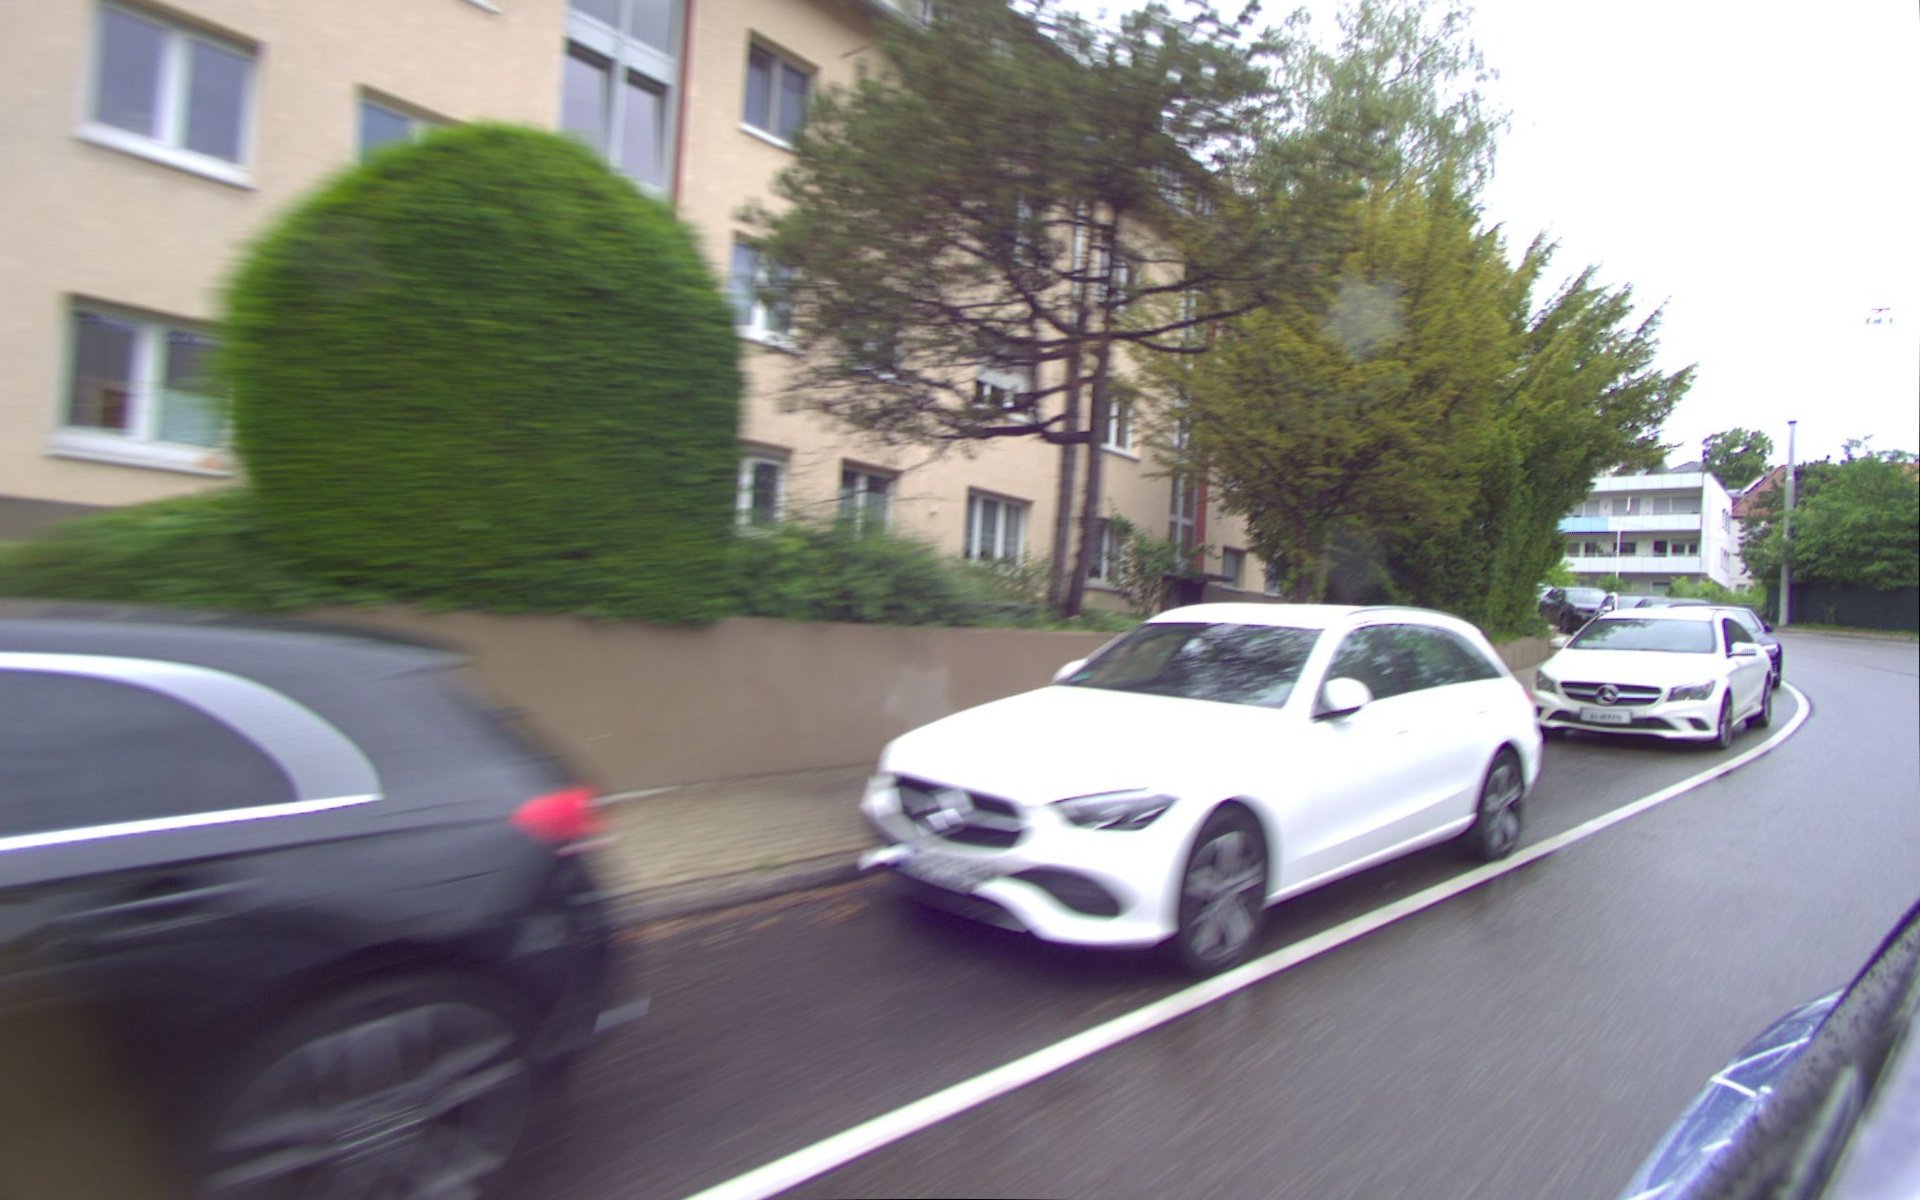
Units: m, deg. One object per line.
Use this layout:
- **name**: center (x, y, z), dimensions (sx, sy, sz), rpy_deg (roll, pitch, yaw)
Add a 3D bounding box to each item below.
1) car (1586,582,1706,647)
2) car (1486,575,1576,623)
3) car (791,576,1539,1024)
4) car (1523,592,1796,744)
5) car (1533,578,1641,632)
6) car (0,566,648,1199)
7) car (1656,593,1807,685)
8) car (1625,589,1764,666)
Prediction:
- **car**: center (18.450, 0.340, 27.391), dimensions (1.667, 1.489, 3.715), rpy_deg (6, 2, 20)
- **car**: center (20.943, -0.076, 37.277), dimensions (1.599, 1.523, 3.596), rpy_deg (5, 2, 9)
- **car**: center (1.373, 0.673, 5.462), dimensions (4.180, 1.473, 1.810), rpy_deg (1, 1, -42)
- **car**: center (8.332, 0.669, 11.879), dimensions (4.492, 1.454, 1.780), rpy_deg (1, -1, -44)
- **car**: center (19.994, 0.106, 32.476), dimensions (1.697, 1.452, 4.051), rpy_deg (5, 2, 14)
- **car**: center (-2.857, 0.656, 1.633), dimensions (4.183, 1.473, 1.691), rpy_deg (1, 1, -44)
- **car**: center (14.257, 0.625, 18.948), dimensions (1.801, 1.364, 4.565), rpy_deg (5, 3, 33)
- **car**: center (16.818, 0.554, 23.411), dimensions (1.796, 1.453, 4.489), rpy_deg (4, 3, 27)
